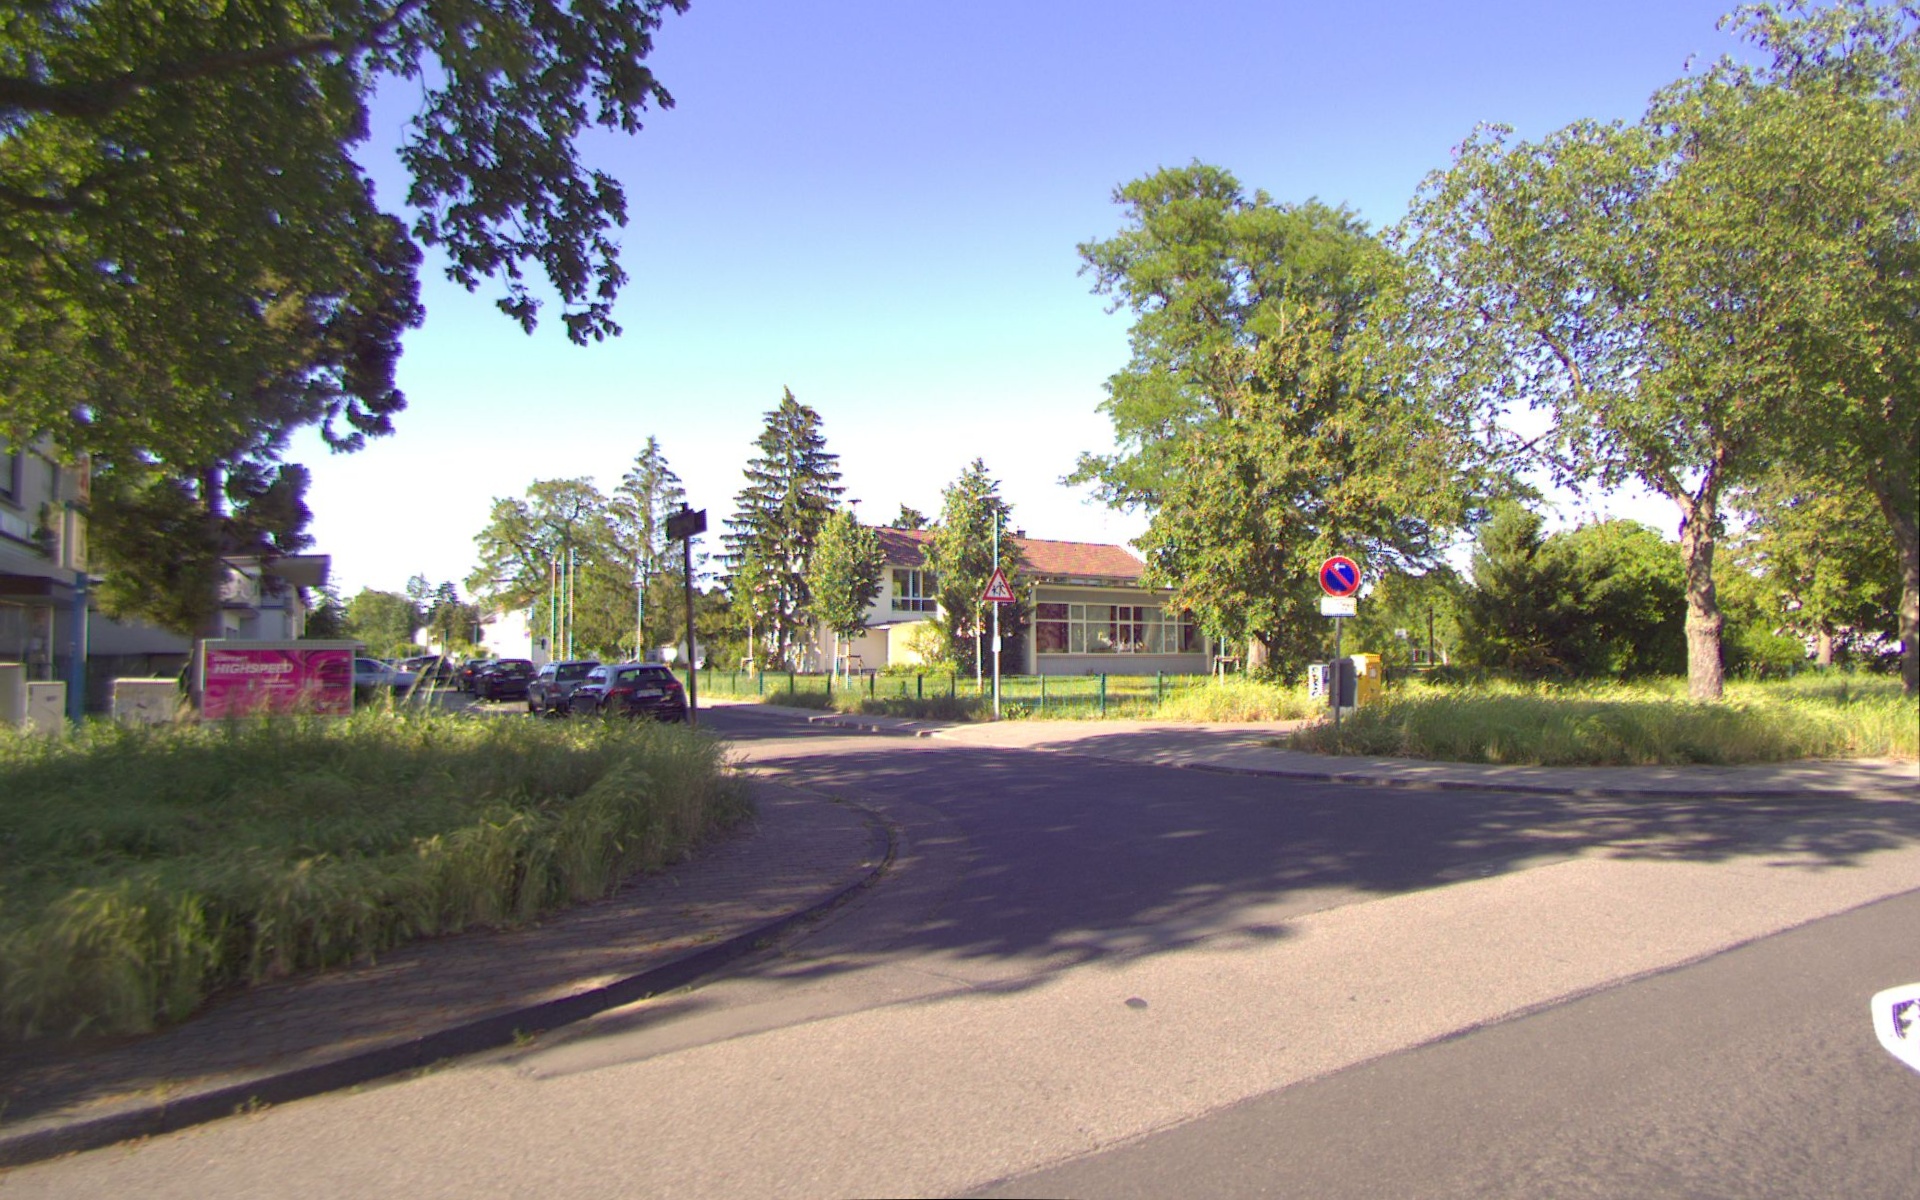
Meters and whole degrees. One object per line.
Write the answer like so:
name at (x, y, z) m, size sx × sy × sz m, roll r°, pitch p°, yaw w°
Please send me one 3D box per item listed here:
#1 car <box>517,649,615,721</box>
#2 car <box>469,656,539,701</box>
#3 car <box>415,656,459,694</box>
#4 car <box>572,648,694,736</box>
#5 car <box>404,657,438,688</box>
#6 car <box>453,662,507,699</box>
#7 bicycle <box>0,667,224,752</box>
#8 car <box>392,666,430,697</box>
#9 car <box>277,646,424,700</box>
car at (-10.959, 2.270, 27.806) m, size 1.976 × 1.844 × 3.970 m, roll 1°, pitch -3°, yaw -30°
car at (-16.717, 2.829, 36.743) m, size 1.976 × 1.560 × 3.970 m, roll 1°, pitch -4°, yaw -29°
car at (-31.387, 4.434, 60.252) m, size 1.978 × 1.973 × 3.964 m, roll 2°, pitch -1°, yaw -32°
car at (-7.257, 1.922, 22.052) m, size 1.801 × 1.737 × 3.970 m, roll 1°, pitch -3°, yaw -29°
car at (-37.606, 5.028, 70.029) m, size 1.976 × 2.040 × 3.970 m, roll 1°, pitch -3°, yaw -30°
car at (-21.503, 3.563, 44.959) m, size 1.799 × 1.560 × 3.837 m, roll 1°, pitch -4°, yaw -31°
bicycle at (-13.898, 1.672, 15.499) m, size 0.696 × 1.192 × 4.033 m, roll -3°, pitch -4°, yaw 43°
car at (-38.765, 5.736, 70.908) m, size 1.979 × 2.040 × 3.964 m, roll 2°, pitch -3°, yaw -34°
car at (-18.578, 2.192, 30.710) m, size 3.719 × 1.539 × 1.789 m, roll 2°, pitch -3°, yaw -33°
